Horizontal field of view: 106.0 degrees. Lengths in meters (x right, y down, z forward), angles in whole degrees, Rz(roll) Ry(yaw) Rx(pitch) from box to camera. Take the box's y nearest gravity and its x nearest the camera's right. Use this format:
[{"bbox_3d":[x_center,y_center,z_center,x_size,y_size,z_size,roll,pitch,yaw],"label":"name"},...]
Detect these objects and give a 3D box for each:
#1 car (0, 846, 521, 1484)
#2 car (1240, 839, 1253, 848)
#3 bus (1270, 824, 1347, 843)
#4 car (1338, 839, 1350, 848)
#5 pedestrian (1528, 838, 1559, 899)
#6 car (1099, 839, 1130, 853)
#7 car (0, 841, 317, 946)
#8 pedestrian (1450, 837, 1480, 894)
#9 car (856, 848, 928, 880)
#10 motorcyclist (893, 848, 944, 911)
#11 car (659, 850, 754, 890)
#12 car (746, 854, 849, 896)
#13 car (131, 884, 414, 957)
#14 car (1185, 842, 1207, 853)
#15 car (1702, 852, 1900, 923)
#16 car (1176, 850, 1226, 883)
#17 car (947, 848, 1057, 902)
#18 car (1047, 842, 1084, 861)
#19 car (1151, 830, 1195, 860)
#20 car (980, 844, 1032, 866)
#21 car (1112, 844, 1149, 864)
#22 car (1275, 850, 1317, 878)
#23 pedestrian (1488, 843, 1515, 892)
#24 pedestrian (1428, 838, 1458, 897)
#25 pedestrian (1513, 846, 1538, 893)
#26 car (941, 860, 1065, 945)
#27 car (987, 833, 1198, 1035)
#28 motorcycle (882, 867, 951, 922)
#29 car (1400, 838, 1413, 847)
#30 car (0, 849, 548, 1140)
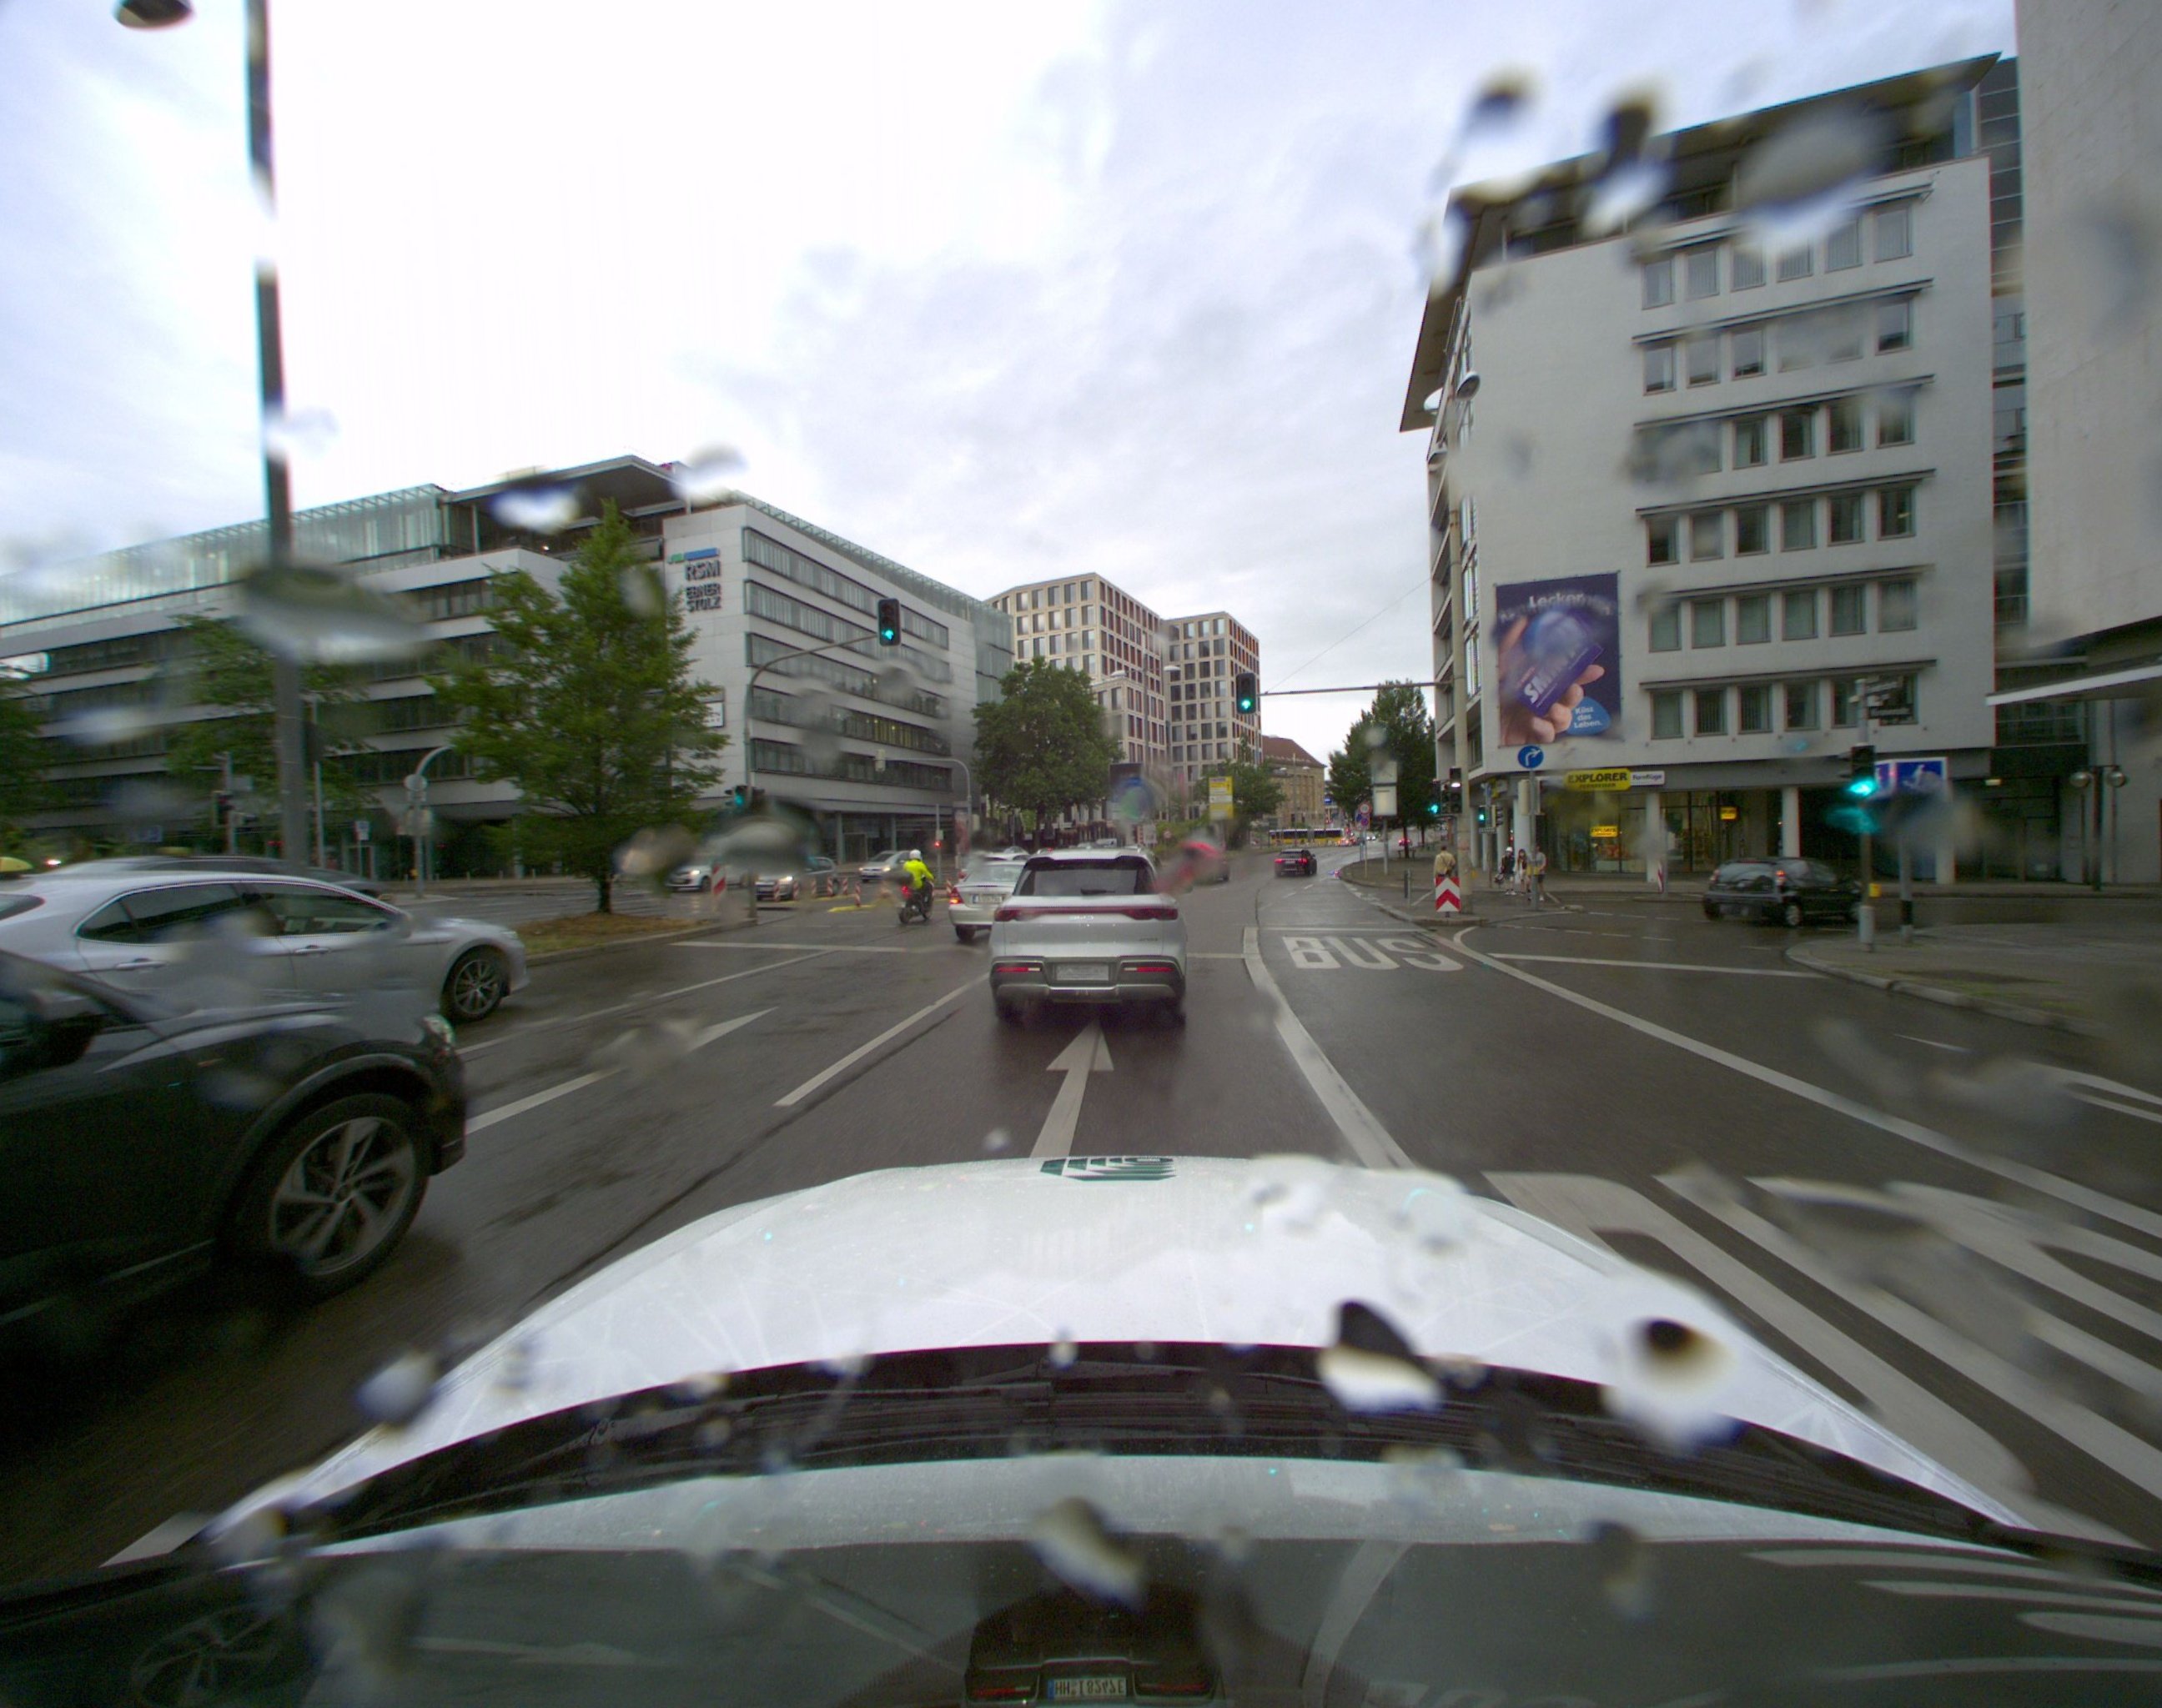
[{"bbox_3d":[-3.408,0.745,1.563,1.642,1.521,4.272,0,0,1],"label":"car"},{"bbox_3d":[32.209,-2.020,158.491,1.591,1.741,3.466,-1,-1,29],"label":"car"},{"bbox_3d":[52.828,-4.686,189.578,16.815,4.063,4.461,0,-1,22],"label":"bus"},{"bbox_3d":[47.937,-1.945,148.239,1.872,1.643,4.020,-1,0,20],"label":"car"},{"bbox_3d":[13.746,0.423,24.197,0.662,1.794,0.778,-1,0,40],"label":"pedestrian"},{"bbox_3d":[3.771,-0.894,89.905,1.975,1.488,4.023,-1,1,25],"label":"car"},{"bbox_3d":[-16.149,0.579,14.057,1.634,1.536,4.163,-1,0,10],"label":"car"},{"bbox_3d":[12.483,0.360,26.502,0.742,1.798,0.820,-1,0,17],"label":"pedestrian"},{"bbox_3d":[-9.583,0.488,41.613,1.630,1.581,4.105,-1,0,19],"label":"car"},{"bbox_3d":[-3.716,0.575,18.684,0.765,1.380,1.122,0,-1,12],"label":"motorcyclist"},{"bbox_3d":[-15.683,0.656,34.323,1.626,1.571,3.733,0,-1,15],"label":"car"},{"bbox_3d":[-9.914,0.718,28.805,1.679,1.385,3.880,0,-1,11],"label":"car"},{"bbox_3d":[-18.216,1.429,18.729,1.853,1.378,4.417,0,-1,5],"label":"car"},{"bbox_3d":[16.512,-1.002,116.949,1.975,1.488,4.023,-1,1,25],"label":"car"},{"bbox_3d":[15.727,0.687,17.790,4.001,1.429,1.565,0,-1,-21],"label":"car"},{"bbox_3d":[5.839,0.590,39.309,1.557,1.486,4.020,-1,-1,20],"label":"car"},{"bbox_3d":[-2.305,0.606,24.837,1.692,1.486,4.020,-1,-1,21],"label":"car"},{"bbox_3d":[-1.314,-0.249,72.356,1.617,1.559,4.617,-1,1,21],"label":"car"},{"bbox_3d":[6.629,-0.599,58.272,1.977,2.014,4.873,0,-1,20],"label":"car"},{"bbox_3d":[-5.664,0.037,62.396,1.798,1.510,5.223,-1,1,21],"label":"car"},{"bbox_3d":[3.702,-0.011,60.870,1.617,1.437,3.928,-1,1,21],"label":"car"},{"bbox_3d":[11.867,0.547,44.856,1.679,1.486,4.021,-1,-1,22],"label":"car"},{"bbox_3d":[14.390,0.451,27.846,0.662,1.655,0.657,-1,0,40],"label":"pedestrian"},{"bbox_3d":[11.421,0.416,25.719,0.742,1.798,0.820,-1,0,17],"label":"pedestrian"},{"bbox_3d":[14.983,0.510,27.456,0.618,1.543,0.657,-1,0,40],"label":"pedestrian"},{"bbox_3d":[-1.355,0.833,15.669,1.563,1.407,4.116,0,-1,6],"label":"car"},{"bbox_3d":[0.256,0.691,8.826,1.768,1.679,4.005,0,-1,5],"label":"car"},{"bbox_3d":[-3.715,0.889,18.580,0.795,1.185,2.035,0,-1,12],"label":"motorcycle"},{"bbox_3d":[58.760,-2.124,146.993,1.678,1.486,4.024,-1,-1,27],"label":"car"},{"bbox_3d":[-6.550,0.740,6.066,1.858,1.533,4.780,0,0,2],"label":"car"}]
